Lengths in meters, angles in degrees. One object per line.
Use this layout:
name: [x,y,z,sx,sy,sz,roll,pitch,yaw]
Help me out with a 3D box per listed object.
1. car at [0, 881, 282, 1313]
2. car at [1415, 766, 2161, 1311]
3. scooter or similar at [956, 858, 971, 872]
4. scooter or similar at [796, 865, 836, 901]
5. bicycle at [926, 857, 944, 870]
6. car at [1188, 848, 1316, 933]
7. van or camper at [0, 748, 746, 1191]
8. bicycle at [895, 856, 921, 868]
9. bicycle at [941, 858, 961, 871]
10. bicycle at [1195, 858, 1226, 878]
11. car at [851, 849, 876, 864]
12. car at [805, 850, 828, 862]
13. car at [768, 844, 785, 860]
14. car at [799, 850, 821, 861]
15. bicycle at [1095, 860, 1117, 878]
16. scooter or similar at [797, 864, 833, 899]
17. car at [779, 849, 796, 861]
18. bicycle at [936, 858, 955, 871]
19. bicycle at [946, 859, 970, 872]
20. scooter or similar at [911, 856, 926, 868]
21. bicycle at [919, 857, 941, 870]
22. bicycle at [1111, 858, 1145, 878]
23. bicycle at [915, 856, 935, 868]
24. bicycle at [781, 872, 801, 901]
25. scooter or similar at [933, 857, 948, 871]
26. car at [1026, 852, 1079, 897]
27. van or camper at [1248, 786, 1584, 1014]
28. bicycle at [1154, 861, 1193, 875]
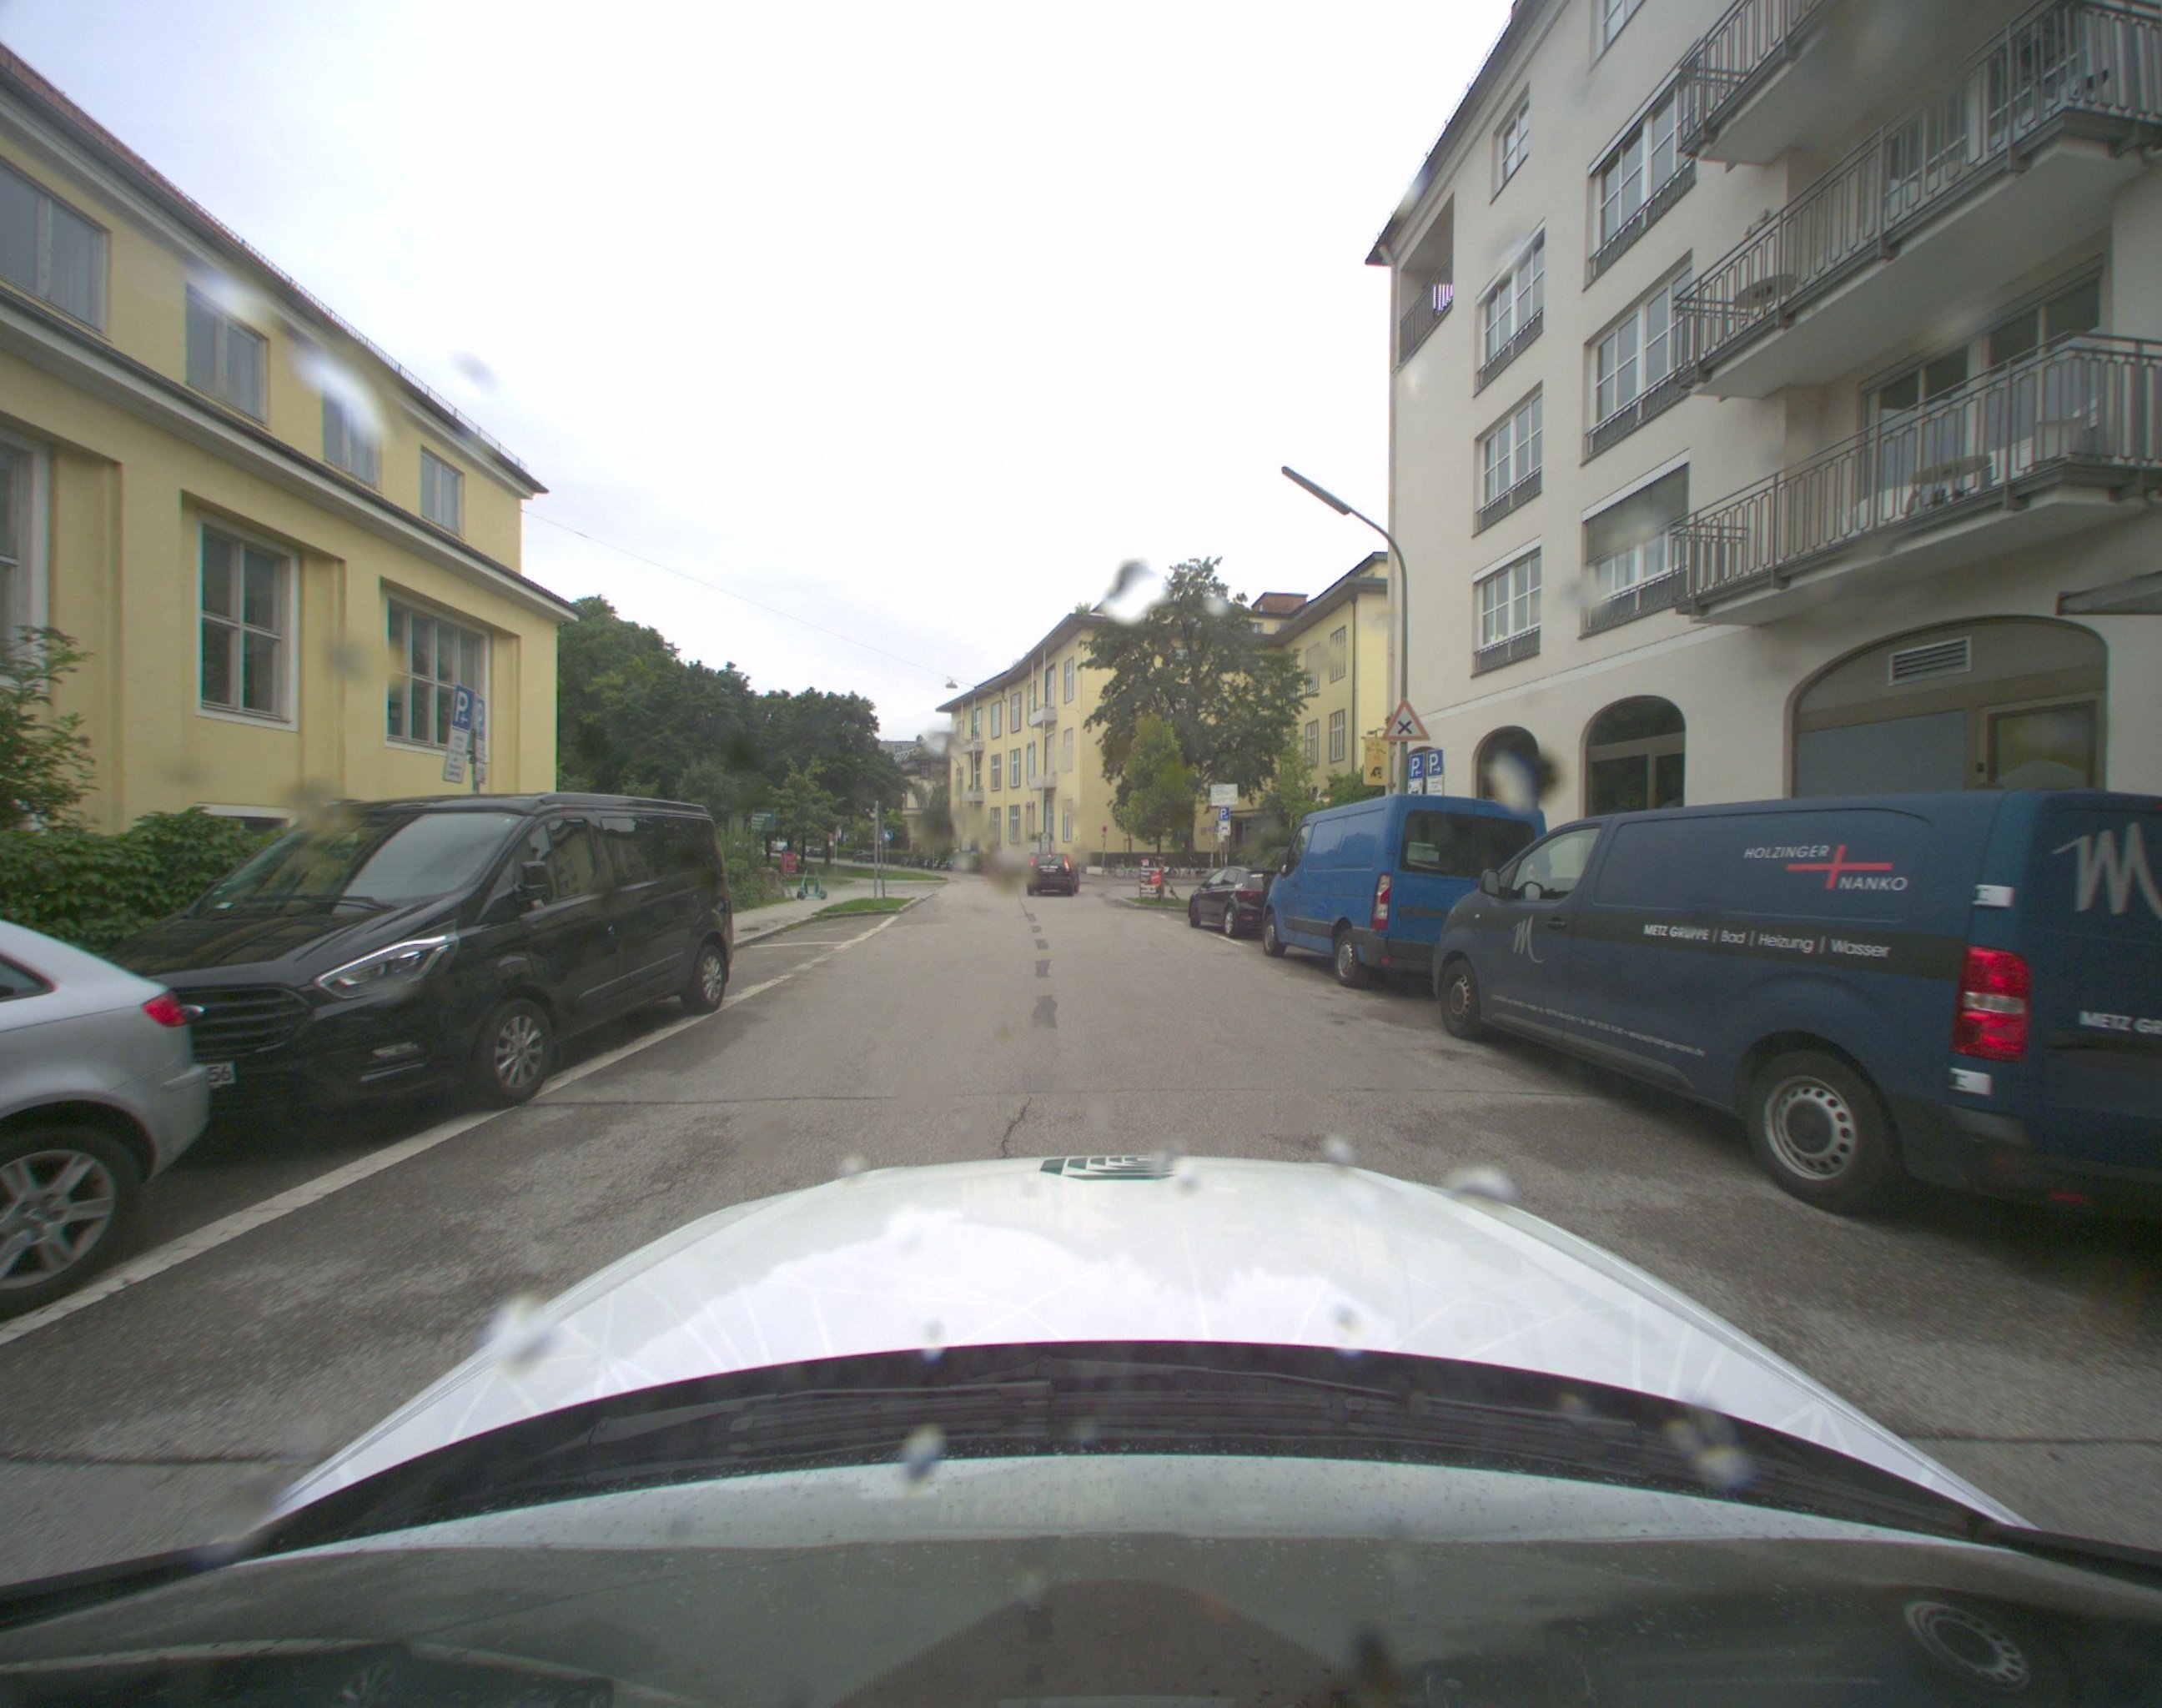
car: [-4.371,0.858,1.540,1.614,1.378,4.071,-3,0,0]
car: [4.190,0.663,5.235,1.958,1.816,4.934,3,0,-1]
scooter or similar: [-9.354,0.855,64.991,0.491,1.109,1.418,0,1,24]
scooter or similar: [-9.392,1.020,28.886,1.174,1.220,0.602,-2,0,-2]
bicycle: [-12.455,0.786,69.570,0.632,1.085,1.996,0,1,21]
car: [3.520,0.696,17.459,1.699,1.518,3.955,3,0,-2]
van or camper: [-4.504,0.537,6.314,1.956,2.065,4.748,-2,0,-3]
bicycle: [-16.440,0.743,77.583,2.348,1.085,0.685,-1,1,-35]
bicycle: [-10.929,0.857,68.393,0.570,1.085,1.945,0,1,28]
bicycle: [7.560,0.808,47.580,1.729,1.150,0.610,0,0,0]
car: [-24.196,0.274,90.702,1.873,1.633,4.246,0,0,-27]
car: [-36.586,0.233,112.722,2.190,1.657,4.463,0,0,-30]
car: [-51.810,-0.367,138.535,1.887,2.568,4.885,0,0,-29]
car: [-39.352,0.228,117.988,2.190,1.657,4.463,0,0,-30]
bicycle: [1.571,0.902,51.079,0.610,1.072,2.202,-1,0,-20]
scooter or similar: [-9.661,0.990,29.649,0.441,1.220,1.189,-2,0,33]
car: [-47.005,0.133,130.352,1.887,1.816,3.962,0,0,-29]
bicycle: [-11.449,0.870,68.926,0.570,1.085,1.945,0,1,28]
bicycle: [-9.997,0.933,66.246,1.835,1.005,0.572,-1,0,-32]
scooter or similar: [-15.174,0.747,75.976,1.406,1.088,0.594,-1,0,-12]
bicycle: [-13.001,0.784,70.268,0.690,1.085,2.351,0,1,21]
bicycle: [2.830,0.818,48.912,2.190,1.117,0.614,1,0,45]
bicycle: [-13.776,0.693,71.996,0.756,1.085,2.152,0,1,21]
bicycle: [-10.102,1.122,28.346,0.473,0.923,1.193,0,0,-29]
scooter or similar: [-11.933,0.842,69.256,0.491,1.088,1.418,0,1,24]
car: [-1.123,0.783,32.868,1.990,1.694,4.378,0,0,-1]
van or camper: [4.064,0.483,11.192,2.055,2.231,5.433,4,0,-2]
bicycle: [5.405,0.835,47.567,2.193,0.779,0.613,0,0,16]
